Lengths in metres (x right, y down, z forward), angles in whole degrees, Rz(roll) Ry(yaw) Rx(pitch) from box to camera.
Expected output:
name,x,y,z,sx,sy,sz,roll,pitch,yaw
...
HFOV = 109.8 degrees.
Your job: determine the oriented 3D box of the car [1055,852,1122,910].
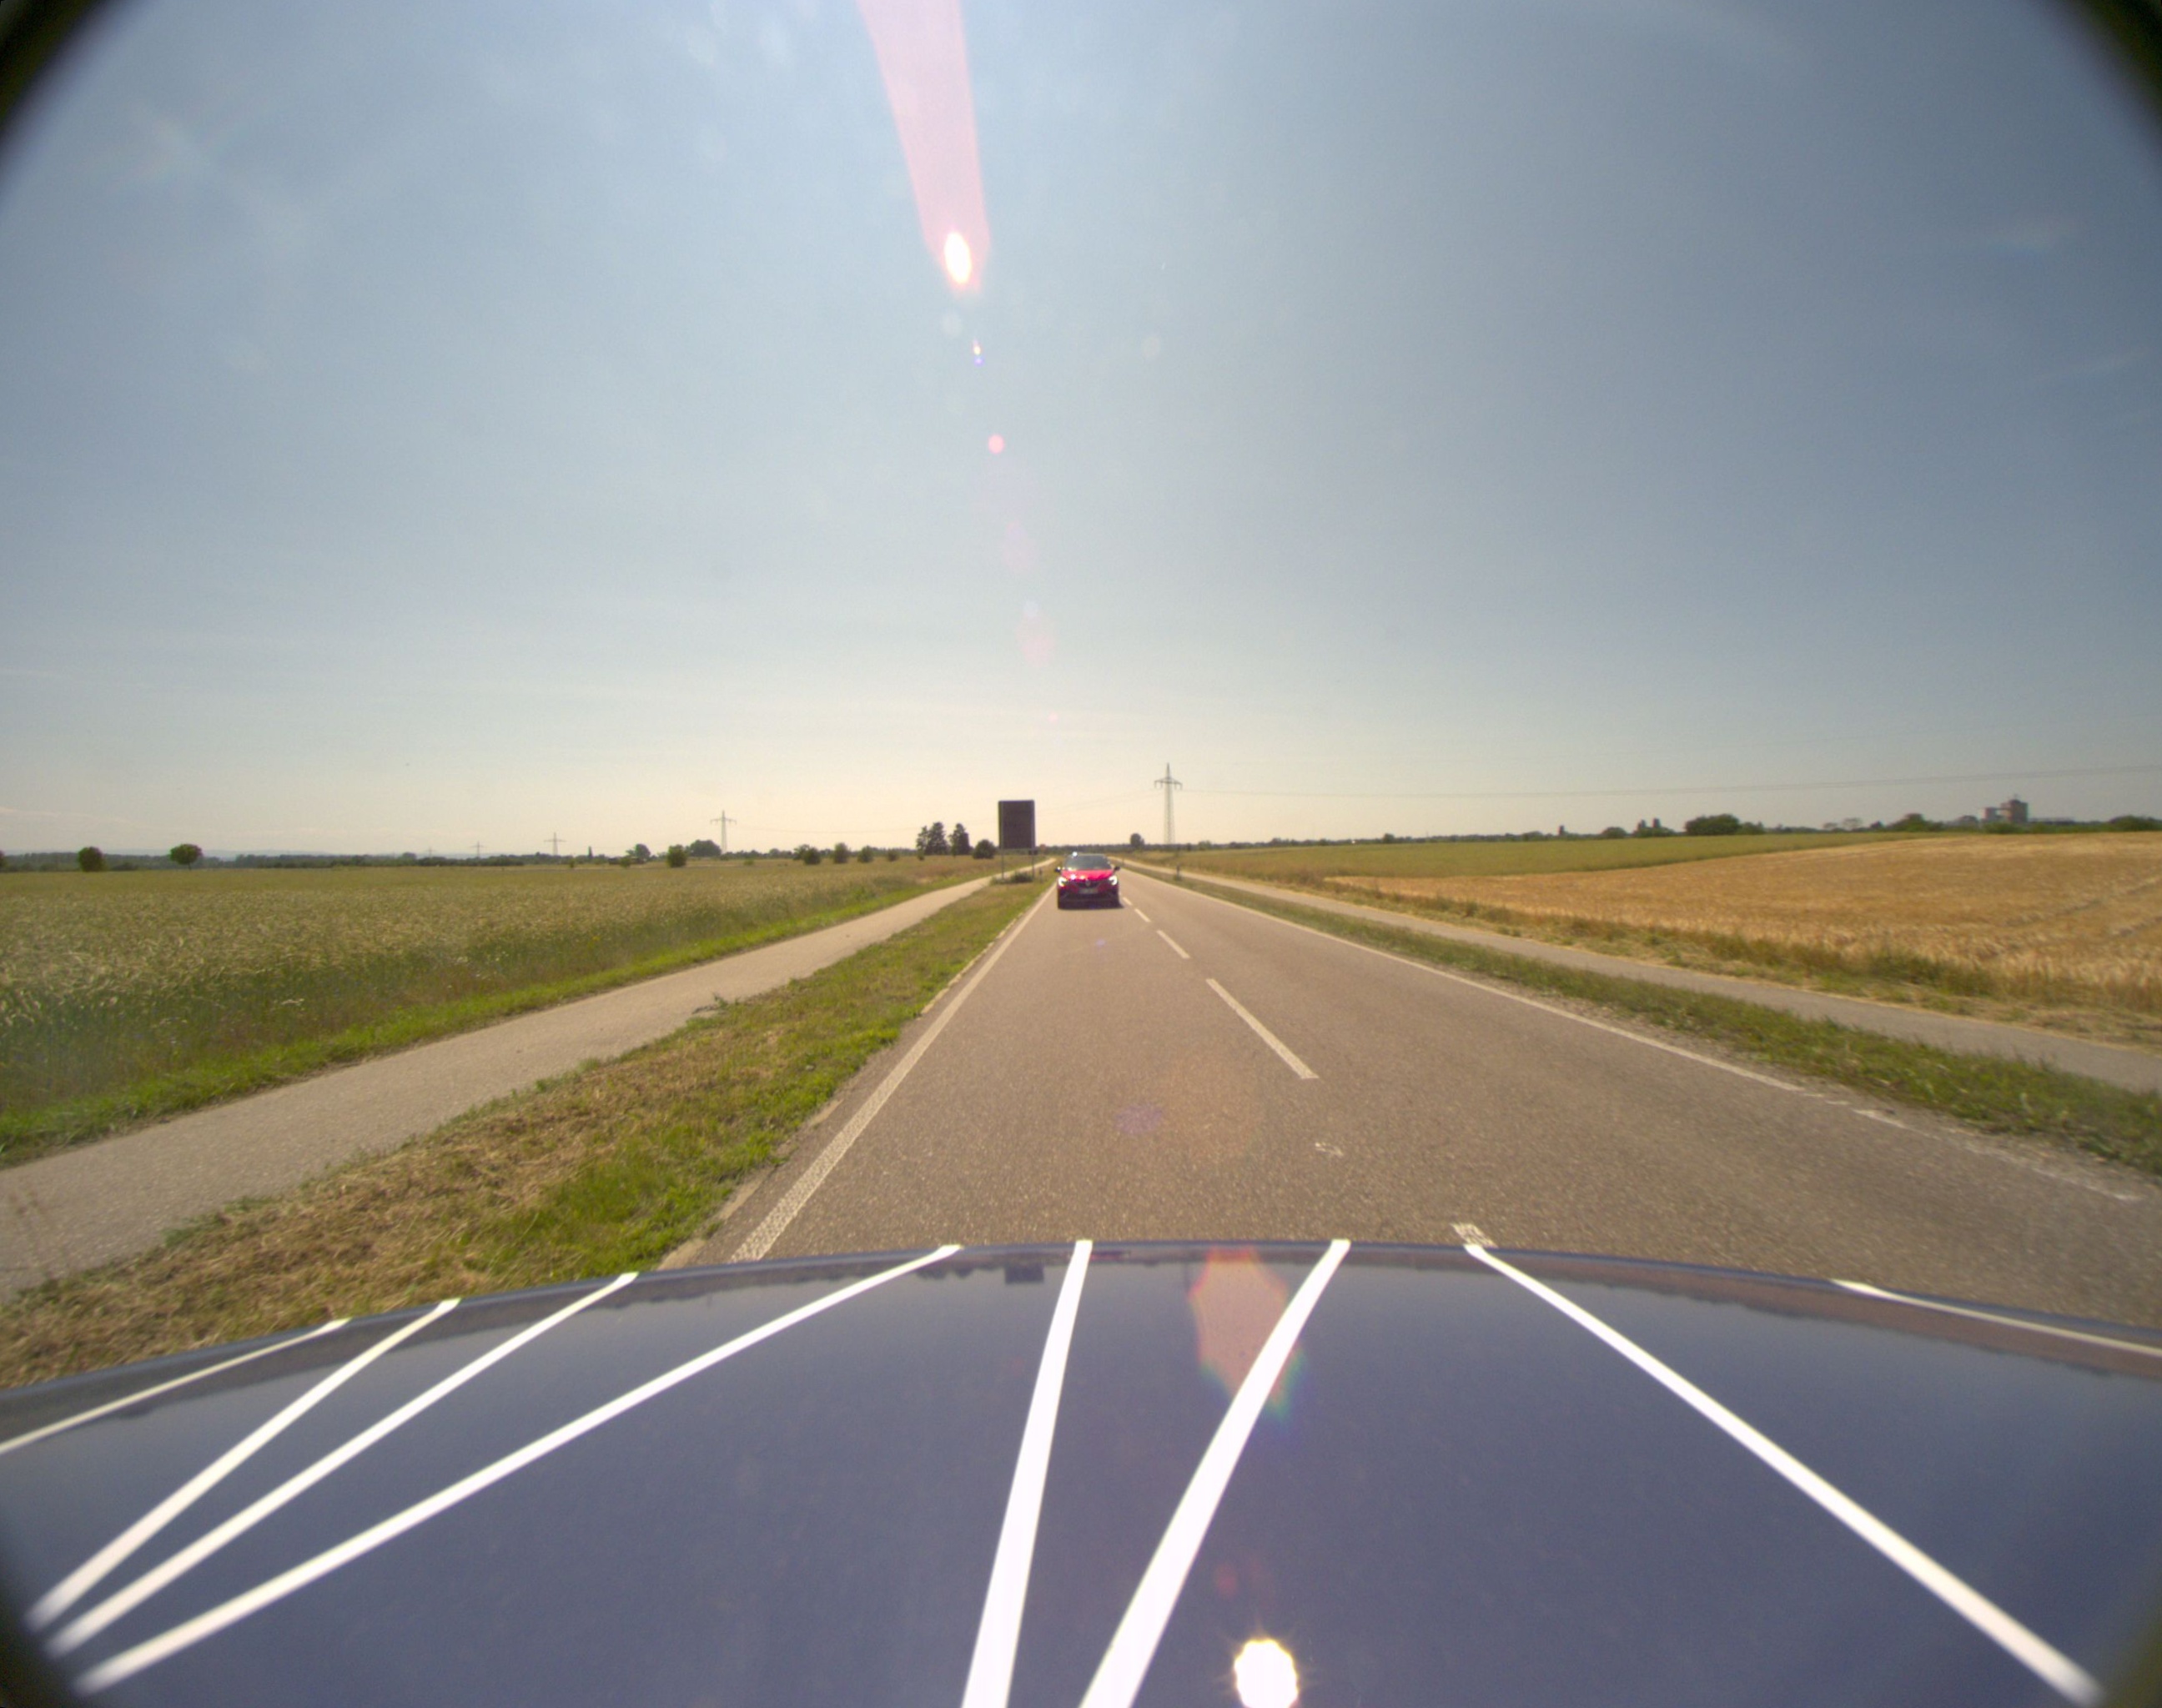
name,x,y,z,sx,sy,sz,roll,pitch,yaw
car,0.191,0.756,23.695,1.827,1.543,4.448,-2,1,-1
